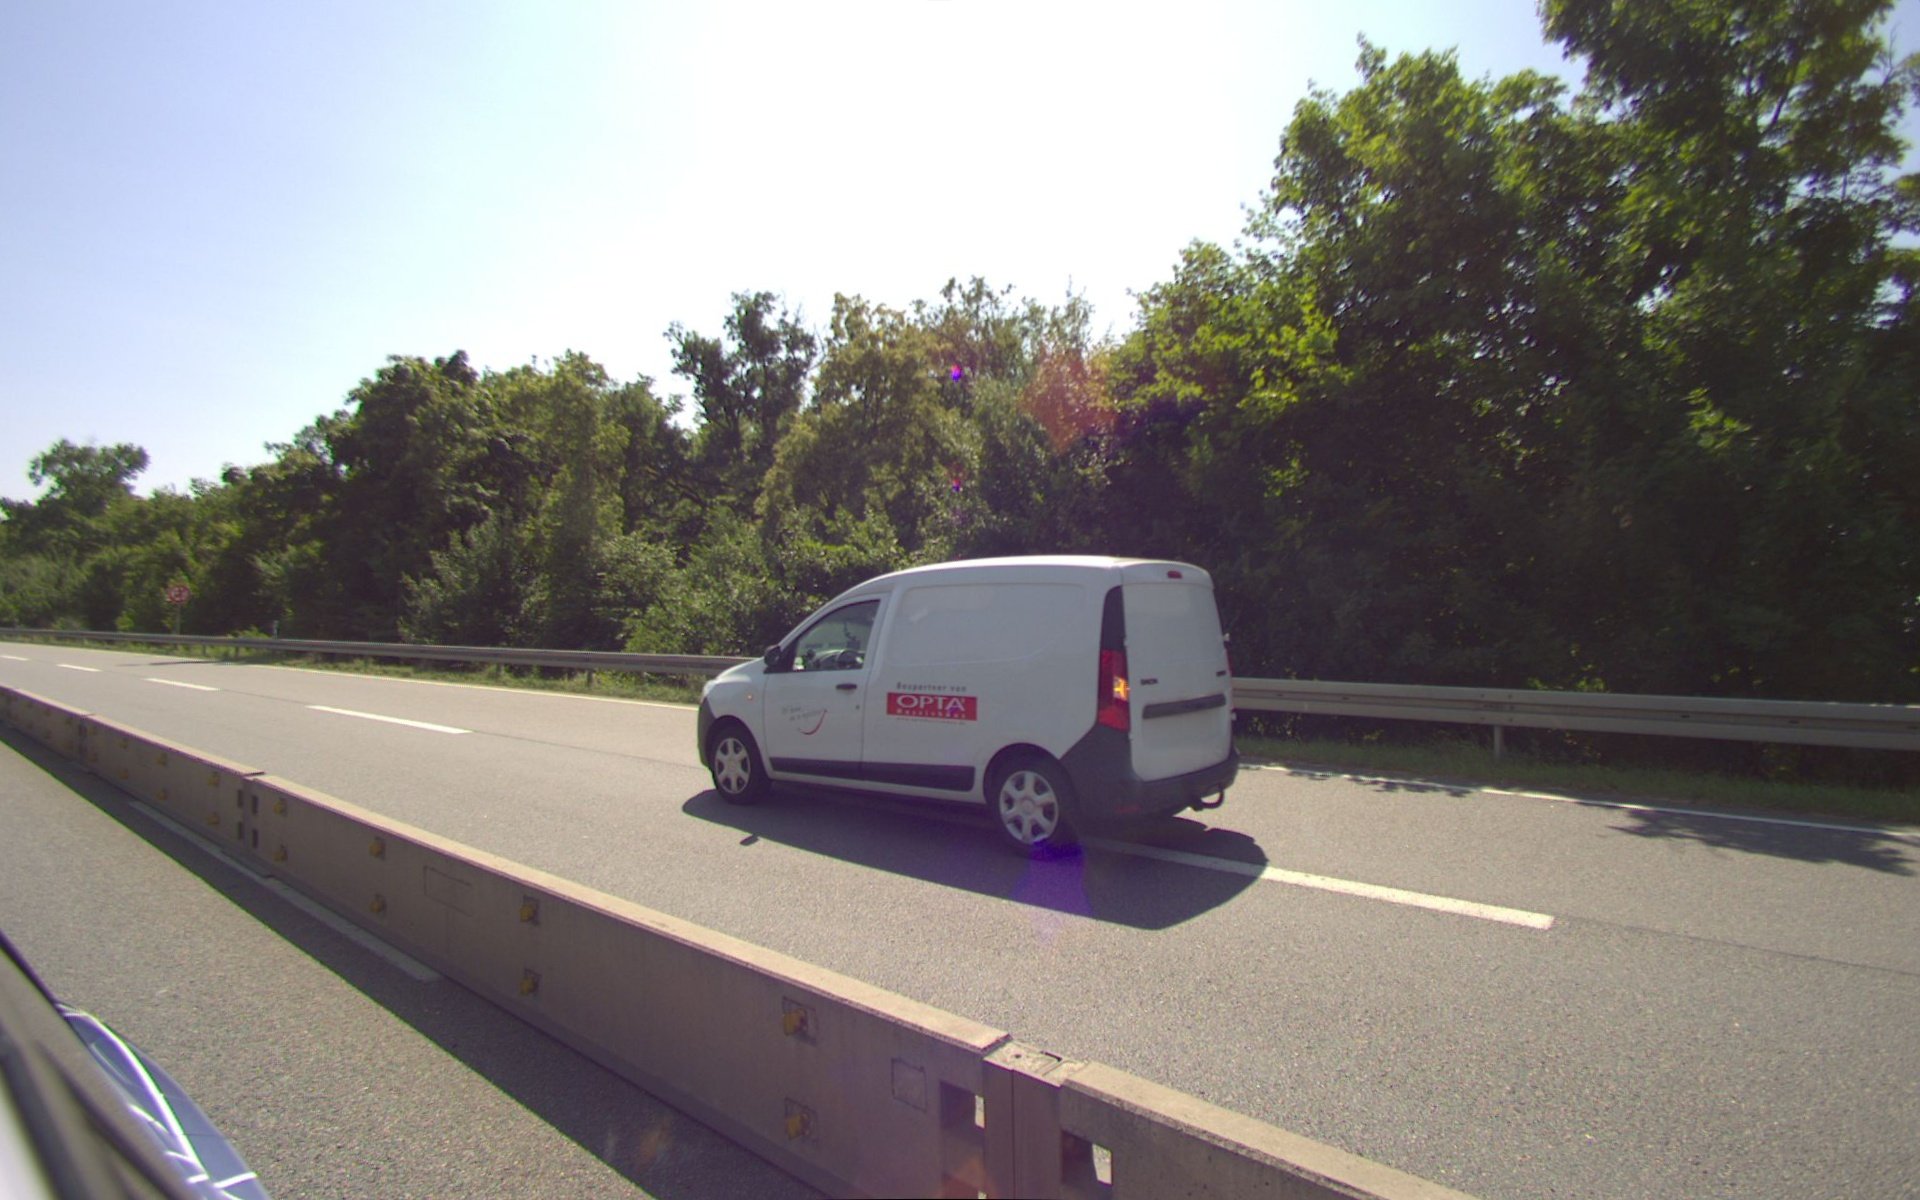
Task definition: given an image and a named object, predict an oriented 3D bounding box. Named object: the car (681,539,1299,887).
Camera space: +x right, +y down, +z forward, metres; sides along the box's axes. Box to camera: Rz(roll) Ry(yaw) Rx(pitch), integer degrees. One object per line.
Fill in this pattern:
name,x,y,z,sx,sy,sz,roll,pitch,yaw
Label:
car,-0.008,0.619,7.244,4.281,1.778,1.738,-1,-1,40
